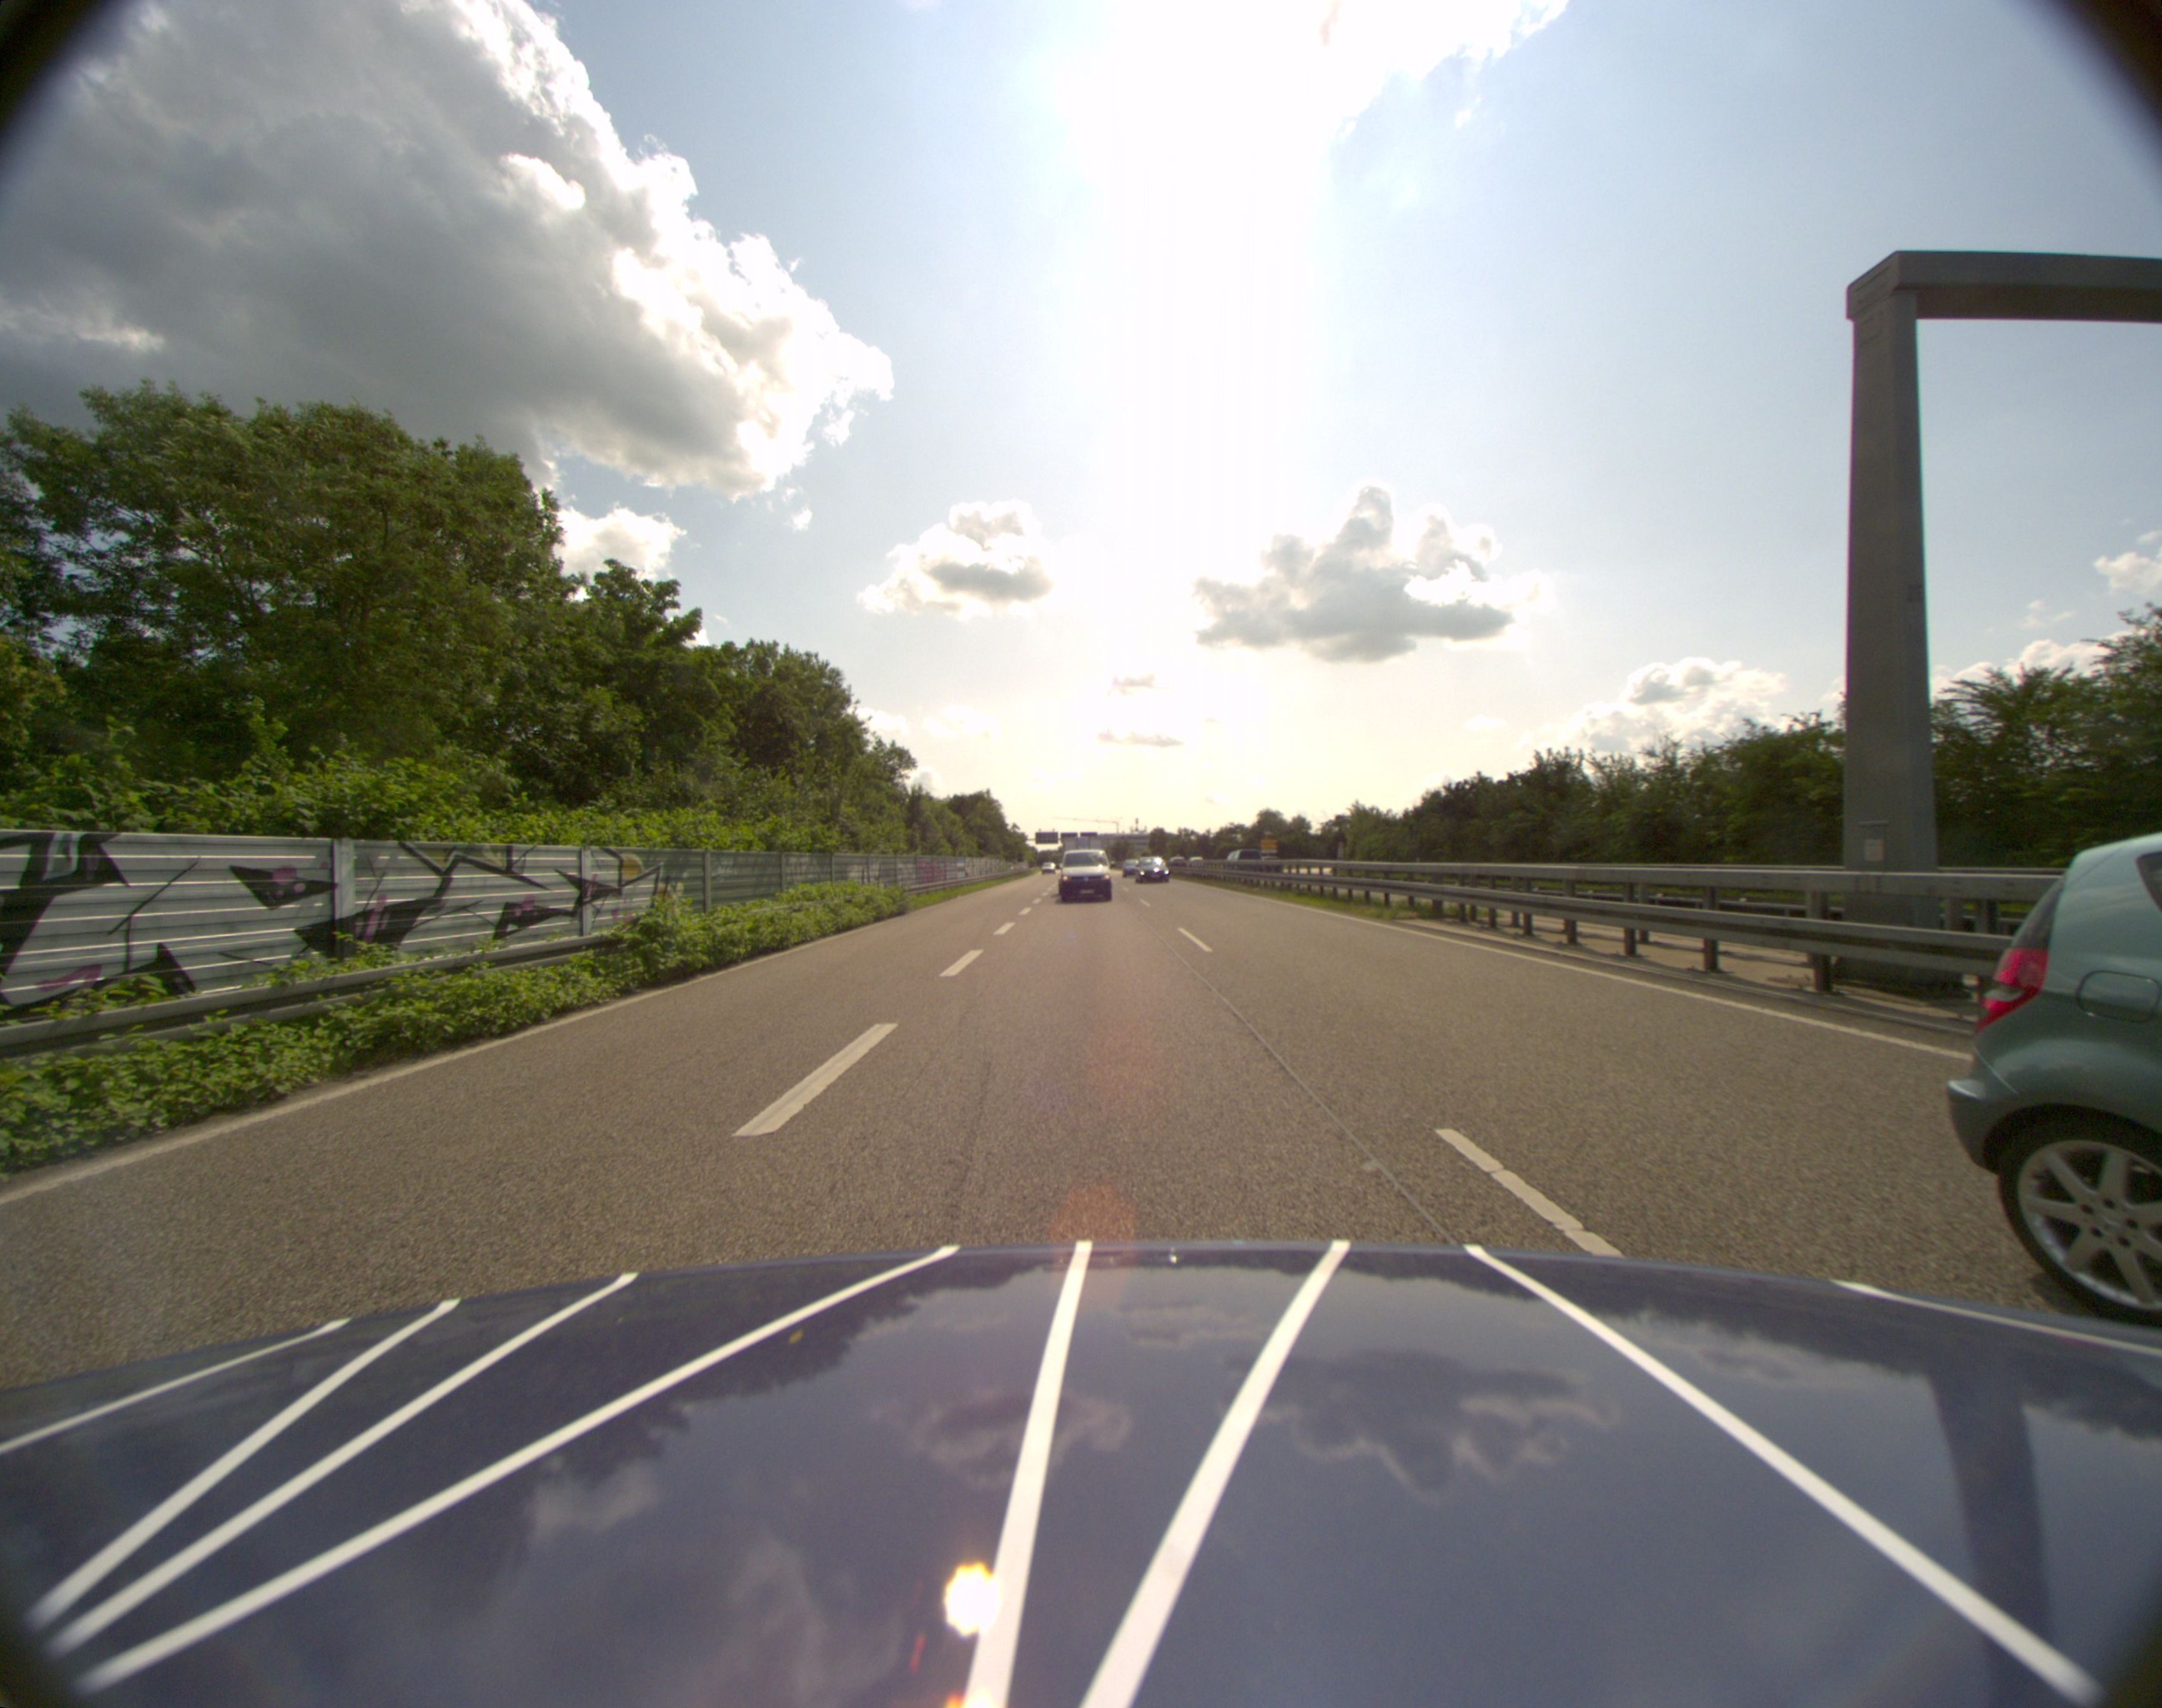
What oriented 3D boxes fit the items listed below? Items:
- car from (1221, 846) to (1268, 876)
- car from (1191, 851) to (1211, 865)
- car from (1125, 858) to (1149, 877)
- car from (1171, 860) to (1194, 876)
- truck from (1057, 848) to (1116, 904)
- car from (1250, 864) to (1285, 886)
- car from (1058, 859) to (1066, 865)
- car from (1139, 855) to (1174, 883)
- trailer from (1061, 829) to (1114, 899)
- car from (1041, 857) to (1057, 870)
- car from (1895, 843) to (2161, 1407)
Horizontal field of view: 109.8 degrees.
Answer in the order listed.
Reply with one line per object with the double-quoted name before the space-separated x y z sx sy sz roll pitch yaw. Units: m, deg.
"car" 11.128 0.406 52.058 1.998 1.853 5.392 -3 1 0
"car" 15.649 0.452 99.293 1.966 1.636 4.550 -3 1 1
"car" 4.631 1.100 63.296 1.625 1.403 3.770 -3 1 -1
"car" 11.444 1.522 85.698 1.998 1.588 4.132 -3 1 0
"truck" 0.224 0.770 28.908 2.008 1.905 4.000 -2 0 1
"car" 15.573 1.734 63.582 1.706 1.566 4.555 -3 1 0
"car" -4.891 2.072 193.077 1.768 1.403 3.771 -3 1 1
"car" 4.575 0.883 46.734 1.716 1.518 4.592 -3 1 1
"trailer" 0.278 0.374 33.927 1.998 2.723 5.966 -3 1 1
"car" -4.150 1.238 99.356 1.768 1.403 3.771 -3 1 1
"car" 3.803 0.733 0.736 1.752 1.522 4.000 -2 0 1
